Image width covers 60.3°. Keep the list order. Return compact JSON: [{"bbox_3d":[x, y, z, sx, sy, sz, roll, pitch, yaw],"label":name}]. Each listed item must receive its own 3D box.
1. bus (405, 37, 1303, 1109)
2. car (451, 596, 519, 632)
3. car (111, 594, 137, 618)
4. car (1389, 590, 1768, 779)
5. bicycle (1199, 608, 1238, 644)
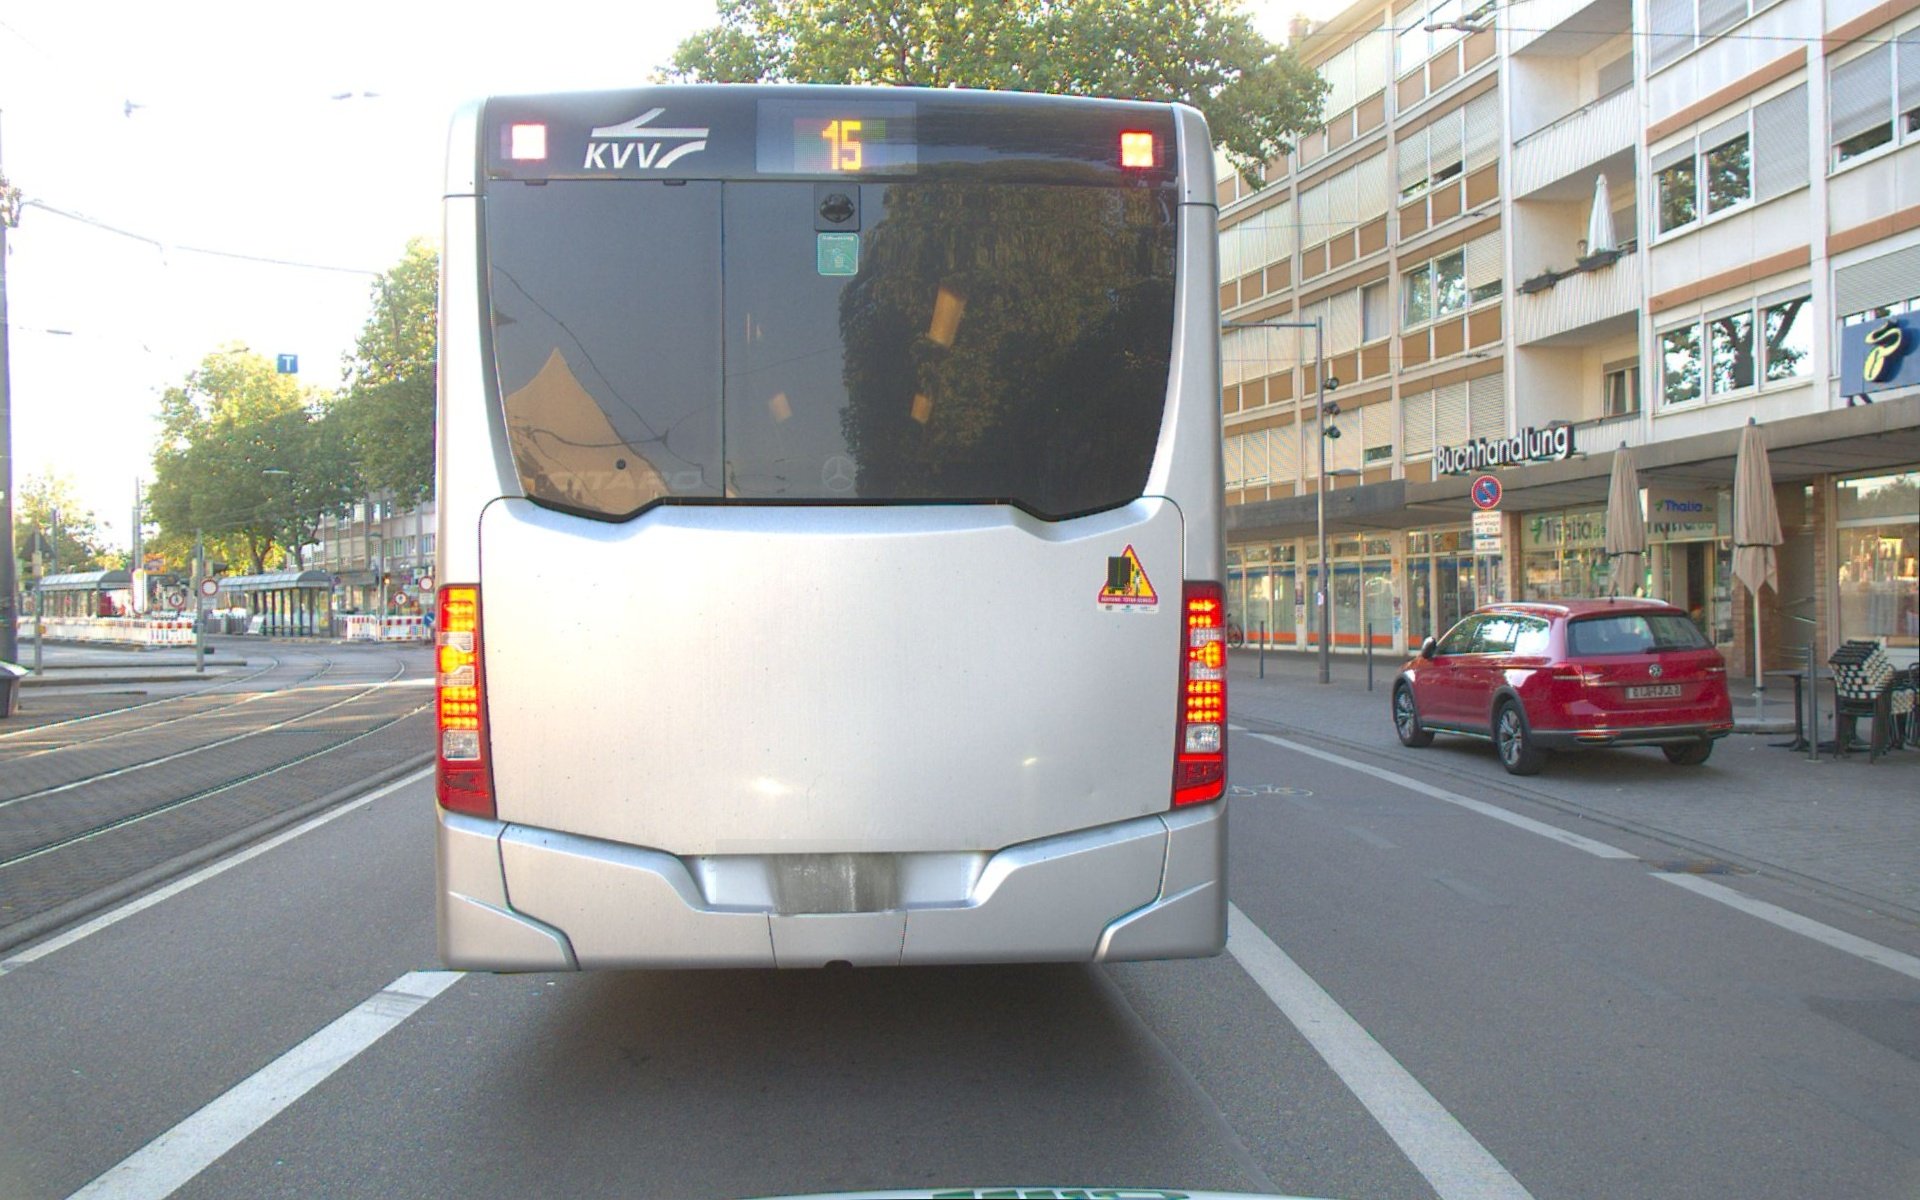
[{"bbox_3d":[-0.375,-0.062,9.784,2.577,3.081,9.995,0,0,-1],"label":"bus"},{"bbox_3d":[-25.217,0.746,87.675,1.982,1.823,3.940,1,-1,-41],"label":"car"},{"bbox_3d":[-71.600,0.525,141.707,1.604,2.049,3.075,-1,0,-34],"label":"car"},{"bbox_3d":[5.716,0.703,15.923,1.735,1.508,4.299,-2,0,-4],"label":"car"},{"bbox_3d":[7.131,0.714,45.740,0.406,0.961,1.431,-1,0,-20],"label":"bicycle"}]
